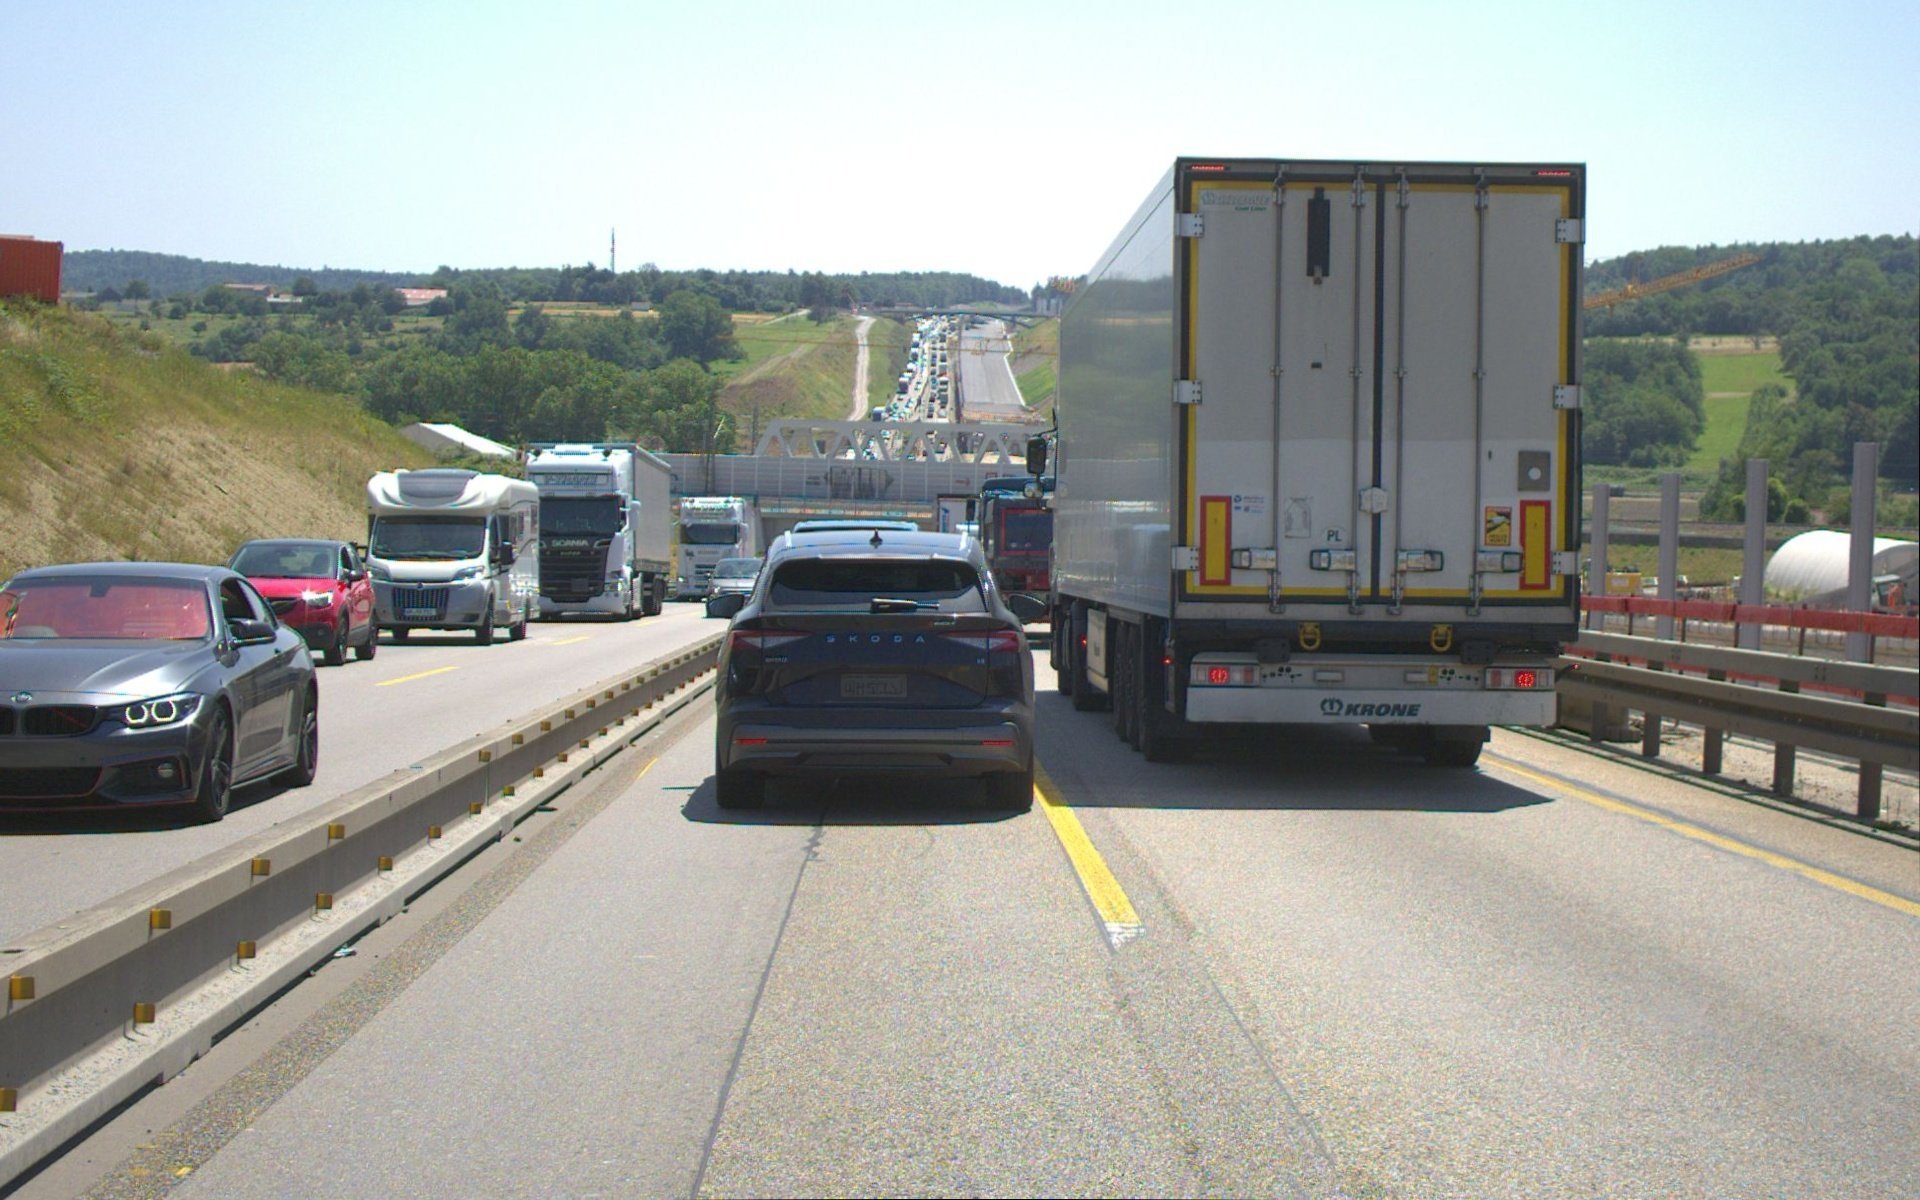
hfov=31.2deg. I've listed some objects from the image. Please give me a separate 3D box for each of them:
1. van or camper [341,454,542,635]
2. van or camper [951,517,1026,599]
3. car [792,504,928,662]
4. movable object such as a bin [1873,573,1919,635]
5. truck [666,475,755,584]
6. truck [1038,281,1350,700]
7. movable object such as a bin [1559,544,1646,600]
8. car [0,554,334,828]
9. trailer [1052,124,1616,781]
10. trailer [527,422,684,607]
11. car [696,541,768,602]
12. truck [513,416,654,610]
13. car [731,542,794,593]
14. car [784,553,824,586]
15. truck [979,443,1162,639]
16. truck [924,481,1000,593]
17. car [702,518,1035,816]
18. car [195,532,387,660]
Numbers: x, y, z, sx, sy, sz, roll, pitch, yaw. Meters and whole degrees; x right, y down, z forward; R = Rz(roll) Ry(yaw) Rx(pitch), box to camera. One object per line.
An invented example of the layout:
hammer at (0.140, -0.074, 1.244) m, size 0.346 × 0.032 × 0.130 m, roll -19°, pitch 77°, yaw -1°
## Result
van or camper at (-8.444, -0.920, 56.760) m, size 2.334 × 2.768 × 7.518 m, roll 1°, pitch 1°, yaw -1°
van or camper at (0.785, -1.203, 97.853) m, size 1.993 × 2.237 × 4.000 m, roll 2°, pitch 1°, yaw 0°
car at (-1.172, -0.228, 41.381) m, size 1.475 × 1.789 × 3.298 m, roll 2°, pitch 1°, yaw 0°
movable object such as a bin at (34.917, 0.136, 125.557) m, size 1.993 × 2.231 × 4.152 m, roll 1°, pitch 0°, yaw 0°
truck at (-9.716, -2.731, 134.373) m, size 3.239 × 4.146 × 4.247 m, roll 0°, pitch 1°, yaw -1°
truck at (2.324, -1.069, 35.750) m, size 2.776 × 4.044 × 4.905 m, roll 0°, pitch 0°, yaw -1°
movable object such as a bin at (34.760, -1.530, 186.317) m, size 2.887 × 2.899 × 9.479 m, roll 1°, pitch 0°, yaw 0°
car at (-4.824, 0.433, 19.657) m, size 1.767 × 1.358 × 4.412 m, roll 1°, pitch 1°, yaw -1°
trailer at (2.507, -0.940, 28.338) m, size 2.801 × 4.044 × 14.117 m, roll 0°, pitch 0°, yaw -1°
trailer at (-8.826, -2.090, 87.105) m, size 2.810 × 4.272 × 14.036 m, roll 1°, pitch 1°, yaw -1°
car at (-5.686, -0.726, 86.005) m, size 1.628 × 1.474 × 3.380 m, roll 1°, pitch 1°, yaw -1°
truck at (-8.583, -1.972, 78.780) m, size 2.774 × 4.272 × 4.677 m, roll 1°, pitch 1°, yaw -1°
car at (-6.308, -1.057, 109.961) m, size 1.848 × 1.581 × 4.174 m, roll 1°, pitch 1°, yaw -1°
car at (-7.849, -1.555, 173.063) m, size 1.812 × 1.632 × 4.362 m, roll 0°, pitch 1°, yaw 0°
truck at (1.813, -0.987, 61.712) m, size 2.814 × 3.124 × 12.838 m, roll 0°, pitch 0°, yaw 0°
truck at (0.040, -2.349, 128.334) m, size 2.517 × 3.946 × 7.600 m, roll 2°, pitch 1°, yaw -1°
car at (-0.520, 0.336, 20.328) m, size 1.800 × 1.615 × 3.298 m, roll 0°, pitch 1°, yaw -1°
car at (-8.520, -0.083, 44.087) m, size 1.716 × 1.546 × 4.265 m, roll 0°, pitch 1°, yaw -1°
